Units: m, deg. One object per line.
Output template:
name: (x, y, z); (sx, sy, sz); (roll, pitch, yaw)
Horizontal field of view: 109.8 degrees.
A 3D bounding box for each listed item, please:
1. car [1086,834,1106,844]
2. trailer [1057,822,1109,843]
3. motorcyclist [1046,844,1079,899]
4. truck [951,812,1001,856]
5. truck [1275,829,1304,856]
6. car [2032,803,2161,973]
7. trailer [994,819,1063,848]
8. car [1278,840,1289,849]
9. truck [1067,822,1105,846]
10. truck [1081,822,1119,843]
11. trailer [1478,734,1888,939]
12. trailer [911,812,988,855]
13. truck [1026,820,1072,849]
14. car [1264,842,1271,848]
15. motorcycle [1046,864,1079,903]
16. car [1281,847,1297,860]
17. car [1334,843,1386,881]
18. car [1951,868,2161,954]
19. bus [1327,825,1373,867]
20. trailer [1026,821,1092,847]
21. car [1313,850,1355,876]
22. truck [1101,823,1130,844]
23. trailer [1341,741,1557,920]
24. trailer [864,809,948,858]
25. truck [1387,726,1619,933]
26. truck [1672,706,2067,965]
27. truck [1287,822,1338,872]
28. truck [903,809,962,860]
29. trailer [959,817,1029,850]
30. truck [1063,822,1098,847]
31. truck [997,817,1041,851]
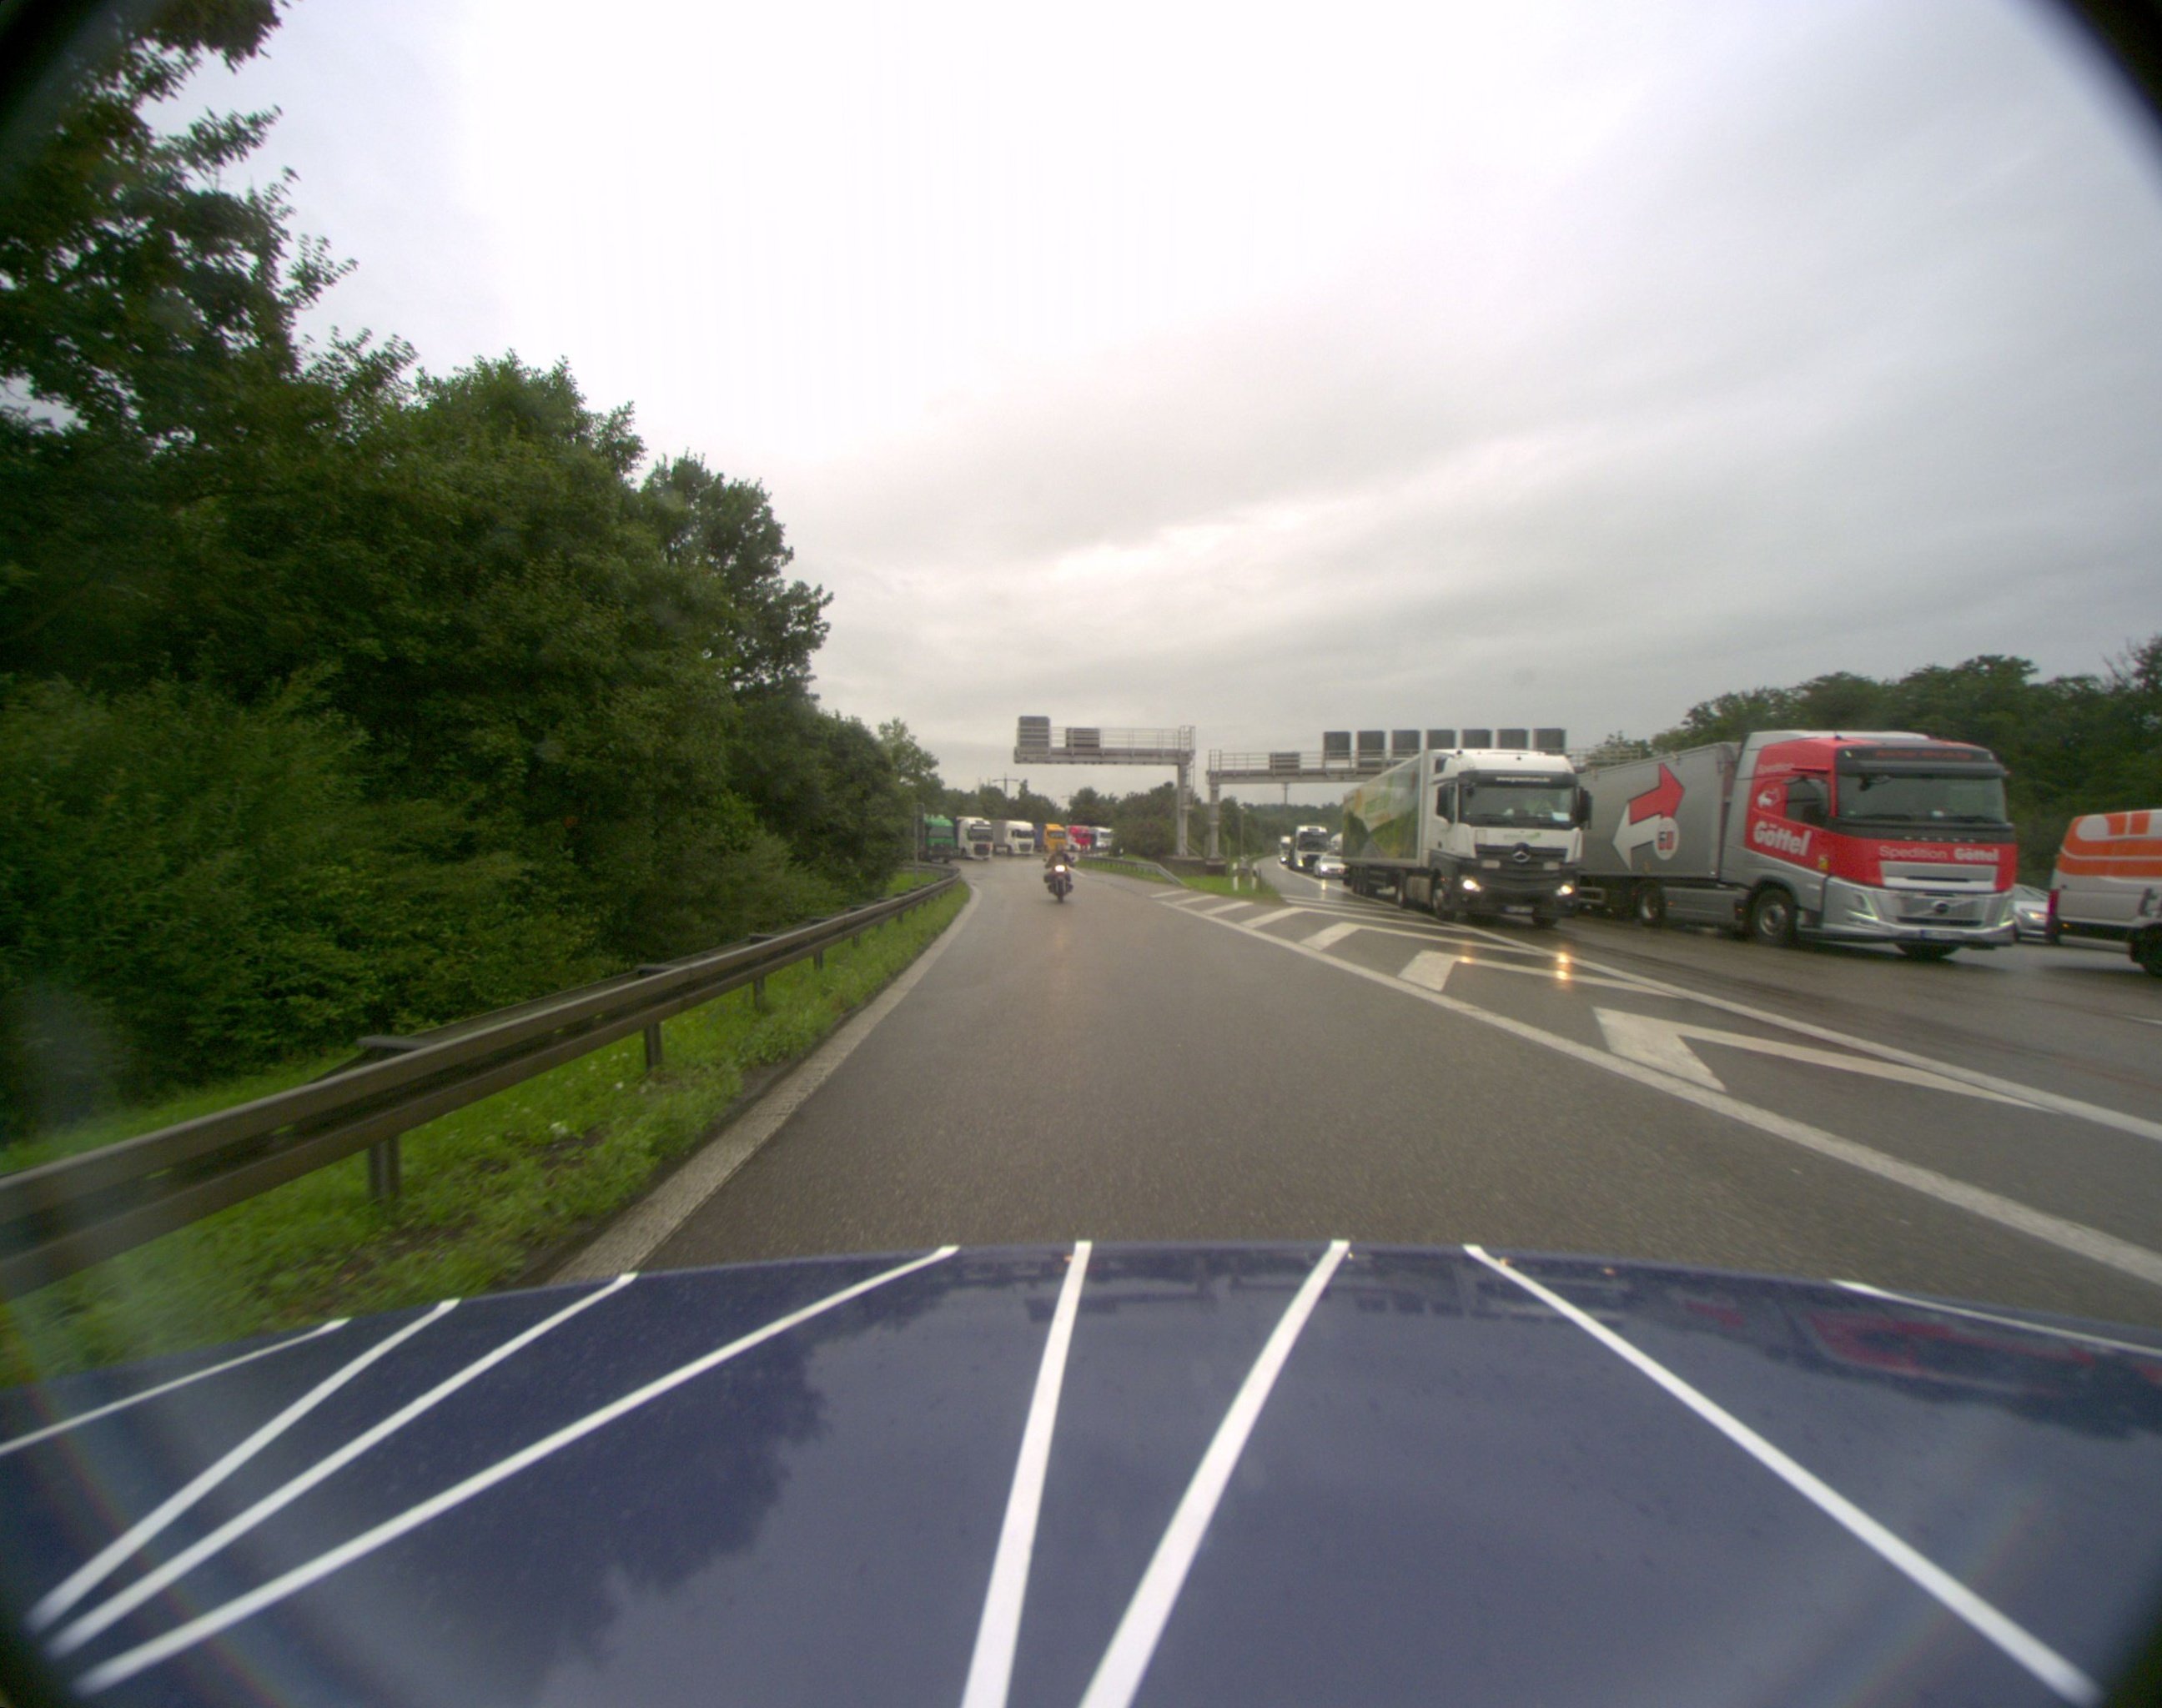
car: (2.897, -2.762, 143.061); (1.851, 1.848, 3.989); (-1, 2, -33)
trailer: (0.187, -4.469, 154.319); (3.252, 4.069, 13.493); (0, 2, -35)
motorcyclist: (-0.565, 0.492, 22.692); (0.878, 1.559, 1.372); (1, 1, -4)
truck: (-10.264, -1.983, 73.859); (2.832, 4.123, 5.287); (0, 3, -32)
truck: (31.755, -1.792, 115.916); (3.533, 3.826, 9.441); (-2, 2, 12)
car: (16.452, 0.545, 8.978); (2.151, 2.474, 7.371); (2, 1, 11)
trailer: (-8.086, -3.151, 112.984); (2.874, 3.897, 16.587); (0, 2, -32)
car: (37.460, -1.786, 140.476); (1.816, 1.747, 4.690); (0, 1, 14)
truck: (0.783, -3.320, 125.380); (2.905, 3.897, 6.536); (0, 2, -35)
truck: (3.638, -4.243, 149.392); (3.252, 4.069, 7.915); (0, 2, -35)
trailer: (14.882, -0.419, 21.168); (2.631, 3.842, 13.685); (2, 1, 10)
trailer: (-14.112, -2.314, 79.981); (2.832, 4.148, 13.954); (0, 3, -32)
truck: (-4.614, -2.777, 107.303); (2.845, 3.897, 8.108); (0, 2, -31)
car: (50.983, -2.456, 207.383); (1.816, 1.747, 4.690); (1, 1, 13)
motorcycle: (-0.585, 0.859, 22.827); (0.878, 1.016, 2.351); (1, 1, -4)
car: (28.568, -0.088, 104.390); (1.816, 1.674, 4.003); (0, 1, 12)
car: (14.330, 0.353, 39.191); (1.797, 1.783, 4.242); (1, 1, 10)
car: (21.862, 1.146, 16.470); (1.804, 1.557, 4.003); (1, 1, 10)
bus: (25.991, -0.873, 73.884); (2.899, 3.747, 10.436); (-2, 2, 12)
trailer: (-3.947, -3.437, 126.014); (3.252, 3.897, 14.787); (0, 2, -35)
car: (16.307, 0.537, 49.201); (1.930, 1.514, 4.766); (1, 1, 11)
truck: (7.114, -4.251, 157.708); (3.252, 4.362, 5.797); (-1, 3, -35)
trailer: (10.971, -0.694, 24.735); (2.923, 4.181, 13.645); (2, 1, 11)
trailer: (-16.495, -2.014, 70.334); (2.832, 4.127, 13.927); (0, 3, -34)
truck: (9.718, -0.563, 18.519); (2.923, 4.076, 6.724); (2, 1, 11)
truck: (13.598, -0.328, 13.740); (2.631, 3.842, 4.592); (2, 1, 10)
truck: (20.701, -0.779, 68.656); (3.352, 4.048, 12.581); (-2, 2, 13)
truck: (-12.694, -1.716, 64.560); (2.832, 4.127, 5.980); (0, 3, -34)
trailer: (-11.154, -2.669, 95.019); (2.849, 3.897, 13.915); (0, 2, -33)
truck: (-0.083, -3.130, 120.509); (3.252, 3.897, 5.007); (0, 3, -35)
truck: (-7.340, -2.325, 89.095); (2.836, 3.891, 5.395); (0, 2, -33)
